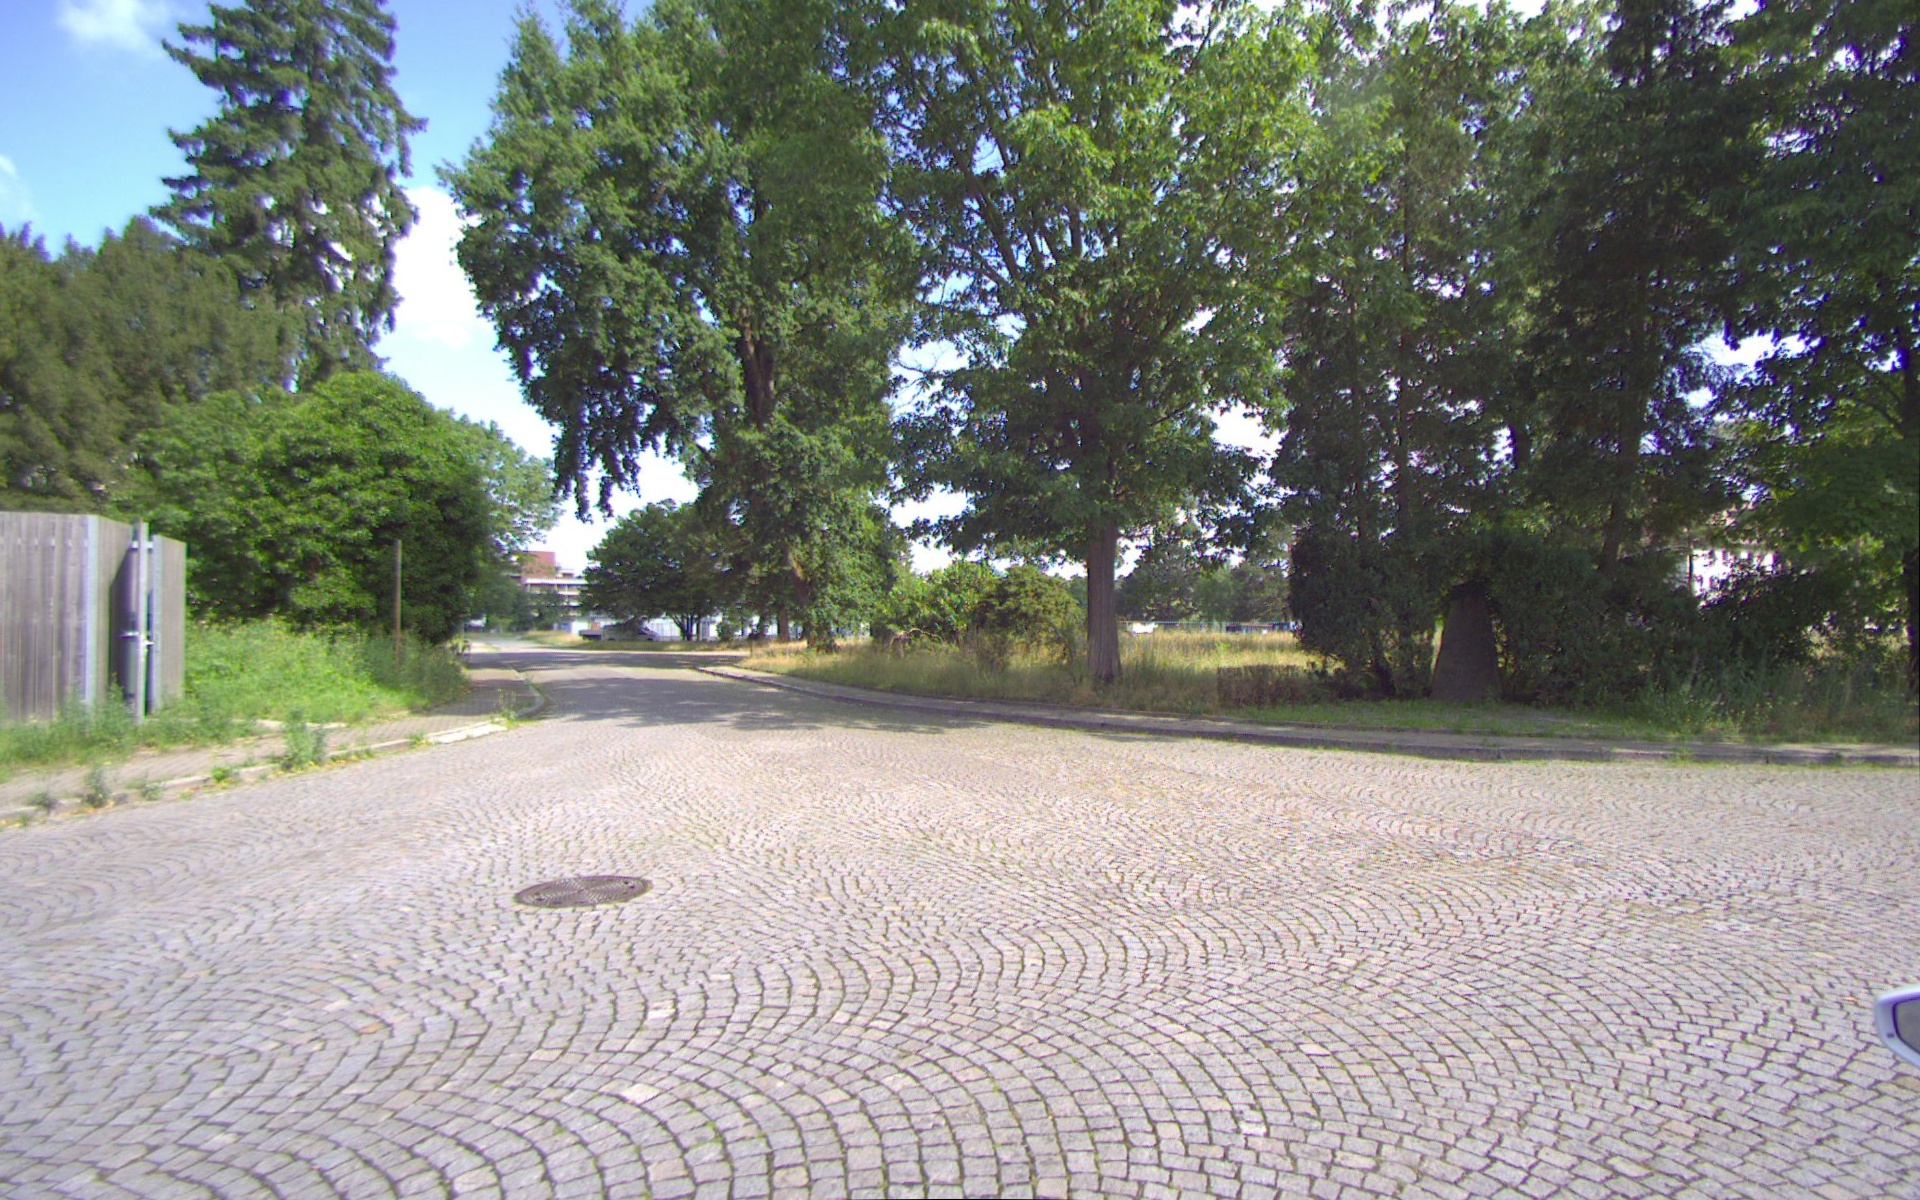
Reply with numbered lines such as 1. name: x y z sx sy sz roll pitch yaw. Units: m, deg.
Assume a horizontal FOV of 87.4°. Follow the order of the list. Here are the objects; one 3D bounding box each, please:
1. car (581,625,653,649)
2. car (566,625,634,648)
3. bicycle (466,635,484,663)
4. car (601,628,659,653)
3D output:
1. car: -30.627 3.298 89.705 5.915 2.018 1.990 1 -1 -22
2. car: -33.425 3.383 93.352 5.915 2.018 1.990 1 -1 -22
3. bicycle: -20.061 2.025 41.527 0.553 1.113 2.198 1 -2 -29
4. car: -28.009 3.445 85.306 4.577 2.018 1.990 1 0 -22
